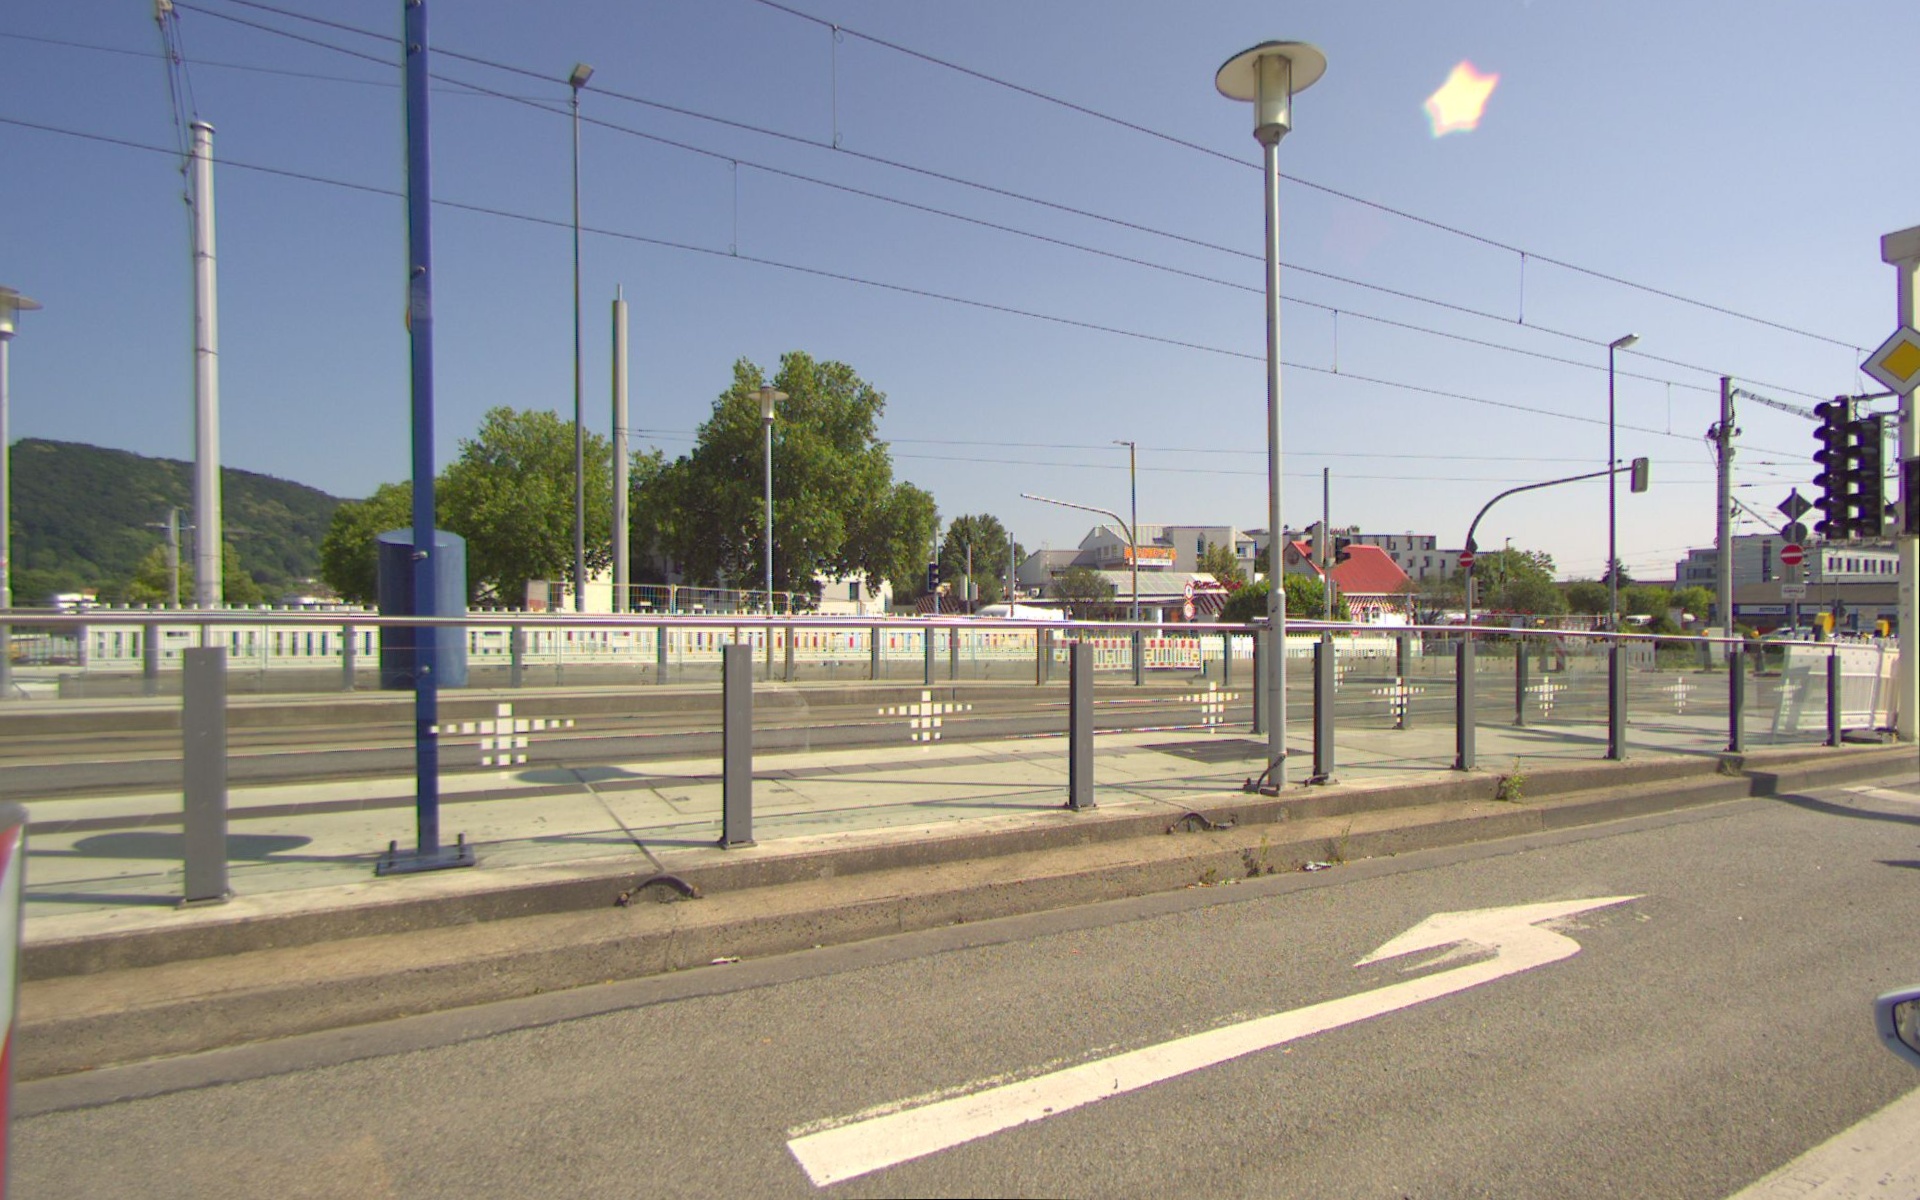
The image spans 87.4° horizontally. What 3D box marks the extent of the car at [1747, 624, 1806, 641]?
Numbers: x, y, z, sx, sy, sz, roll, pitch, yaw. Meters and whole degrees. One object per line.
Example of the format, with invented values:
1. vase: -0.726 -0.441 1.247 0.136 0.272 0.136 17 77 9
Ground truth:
1. car: 76.716 3.090 94.414 3.920 1.558 1.784 -1 -2 18

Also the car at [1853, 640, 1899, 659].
1. car: 78.371 4.189 85.936 3.953 1.558 1.769 1 -2 -30

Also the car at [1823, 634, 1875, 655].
1. car: 67.954 3.407 76.776 3.953 1.558 1.769 1 -2 -30

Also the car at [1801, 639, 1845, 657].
1. car: 75.979 4.184 88.438 3.953 1.558 1.769 1 -2 -30

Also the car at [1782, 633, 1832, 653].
1. car: 66.926 3.406 79.343 3.953 1.558 1.769 1 -2 -30

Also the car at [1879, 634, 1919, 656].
1. car: 69.616 3.293 73.920 3.953 1.558 1.769 1 -2 -30
